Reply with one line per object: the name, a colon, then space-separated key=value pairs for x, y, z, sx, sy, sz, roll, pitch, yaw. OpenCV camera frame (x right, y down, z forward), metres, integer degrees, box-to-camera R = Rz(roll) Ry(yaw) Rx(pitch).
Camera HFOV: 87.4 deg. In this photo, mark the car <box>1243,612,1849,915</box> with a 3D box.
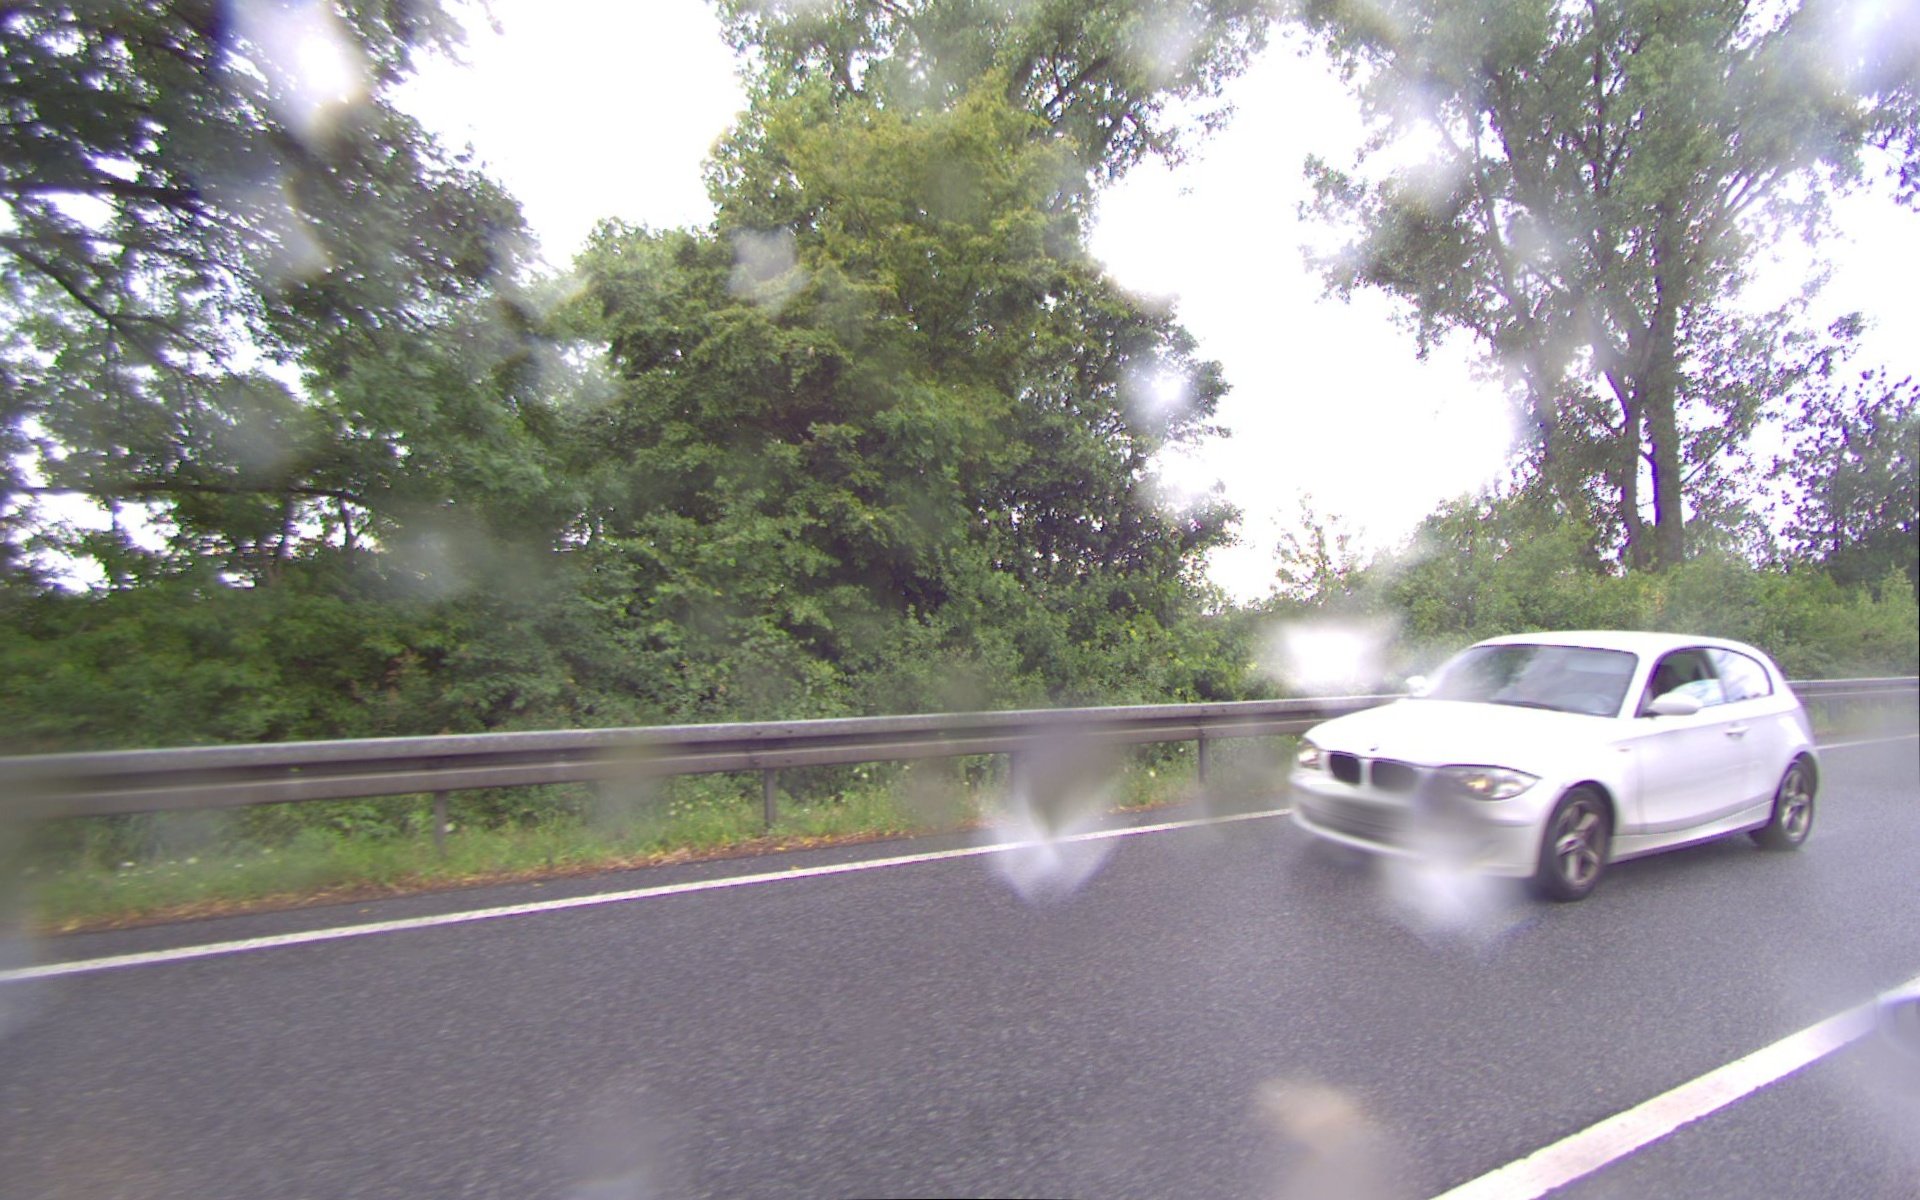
car: x=4.012 y=0.851 z=6.749 sx=4.000 sy=1.473 sz=1.806 roll=1 pitch=-1 yaw=-30
